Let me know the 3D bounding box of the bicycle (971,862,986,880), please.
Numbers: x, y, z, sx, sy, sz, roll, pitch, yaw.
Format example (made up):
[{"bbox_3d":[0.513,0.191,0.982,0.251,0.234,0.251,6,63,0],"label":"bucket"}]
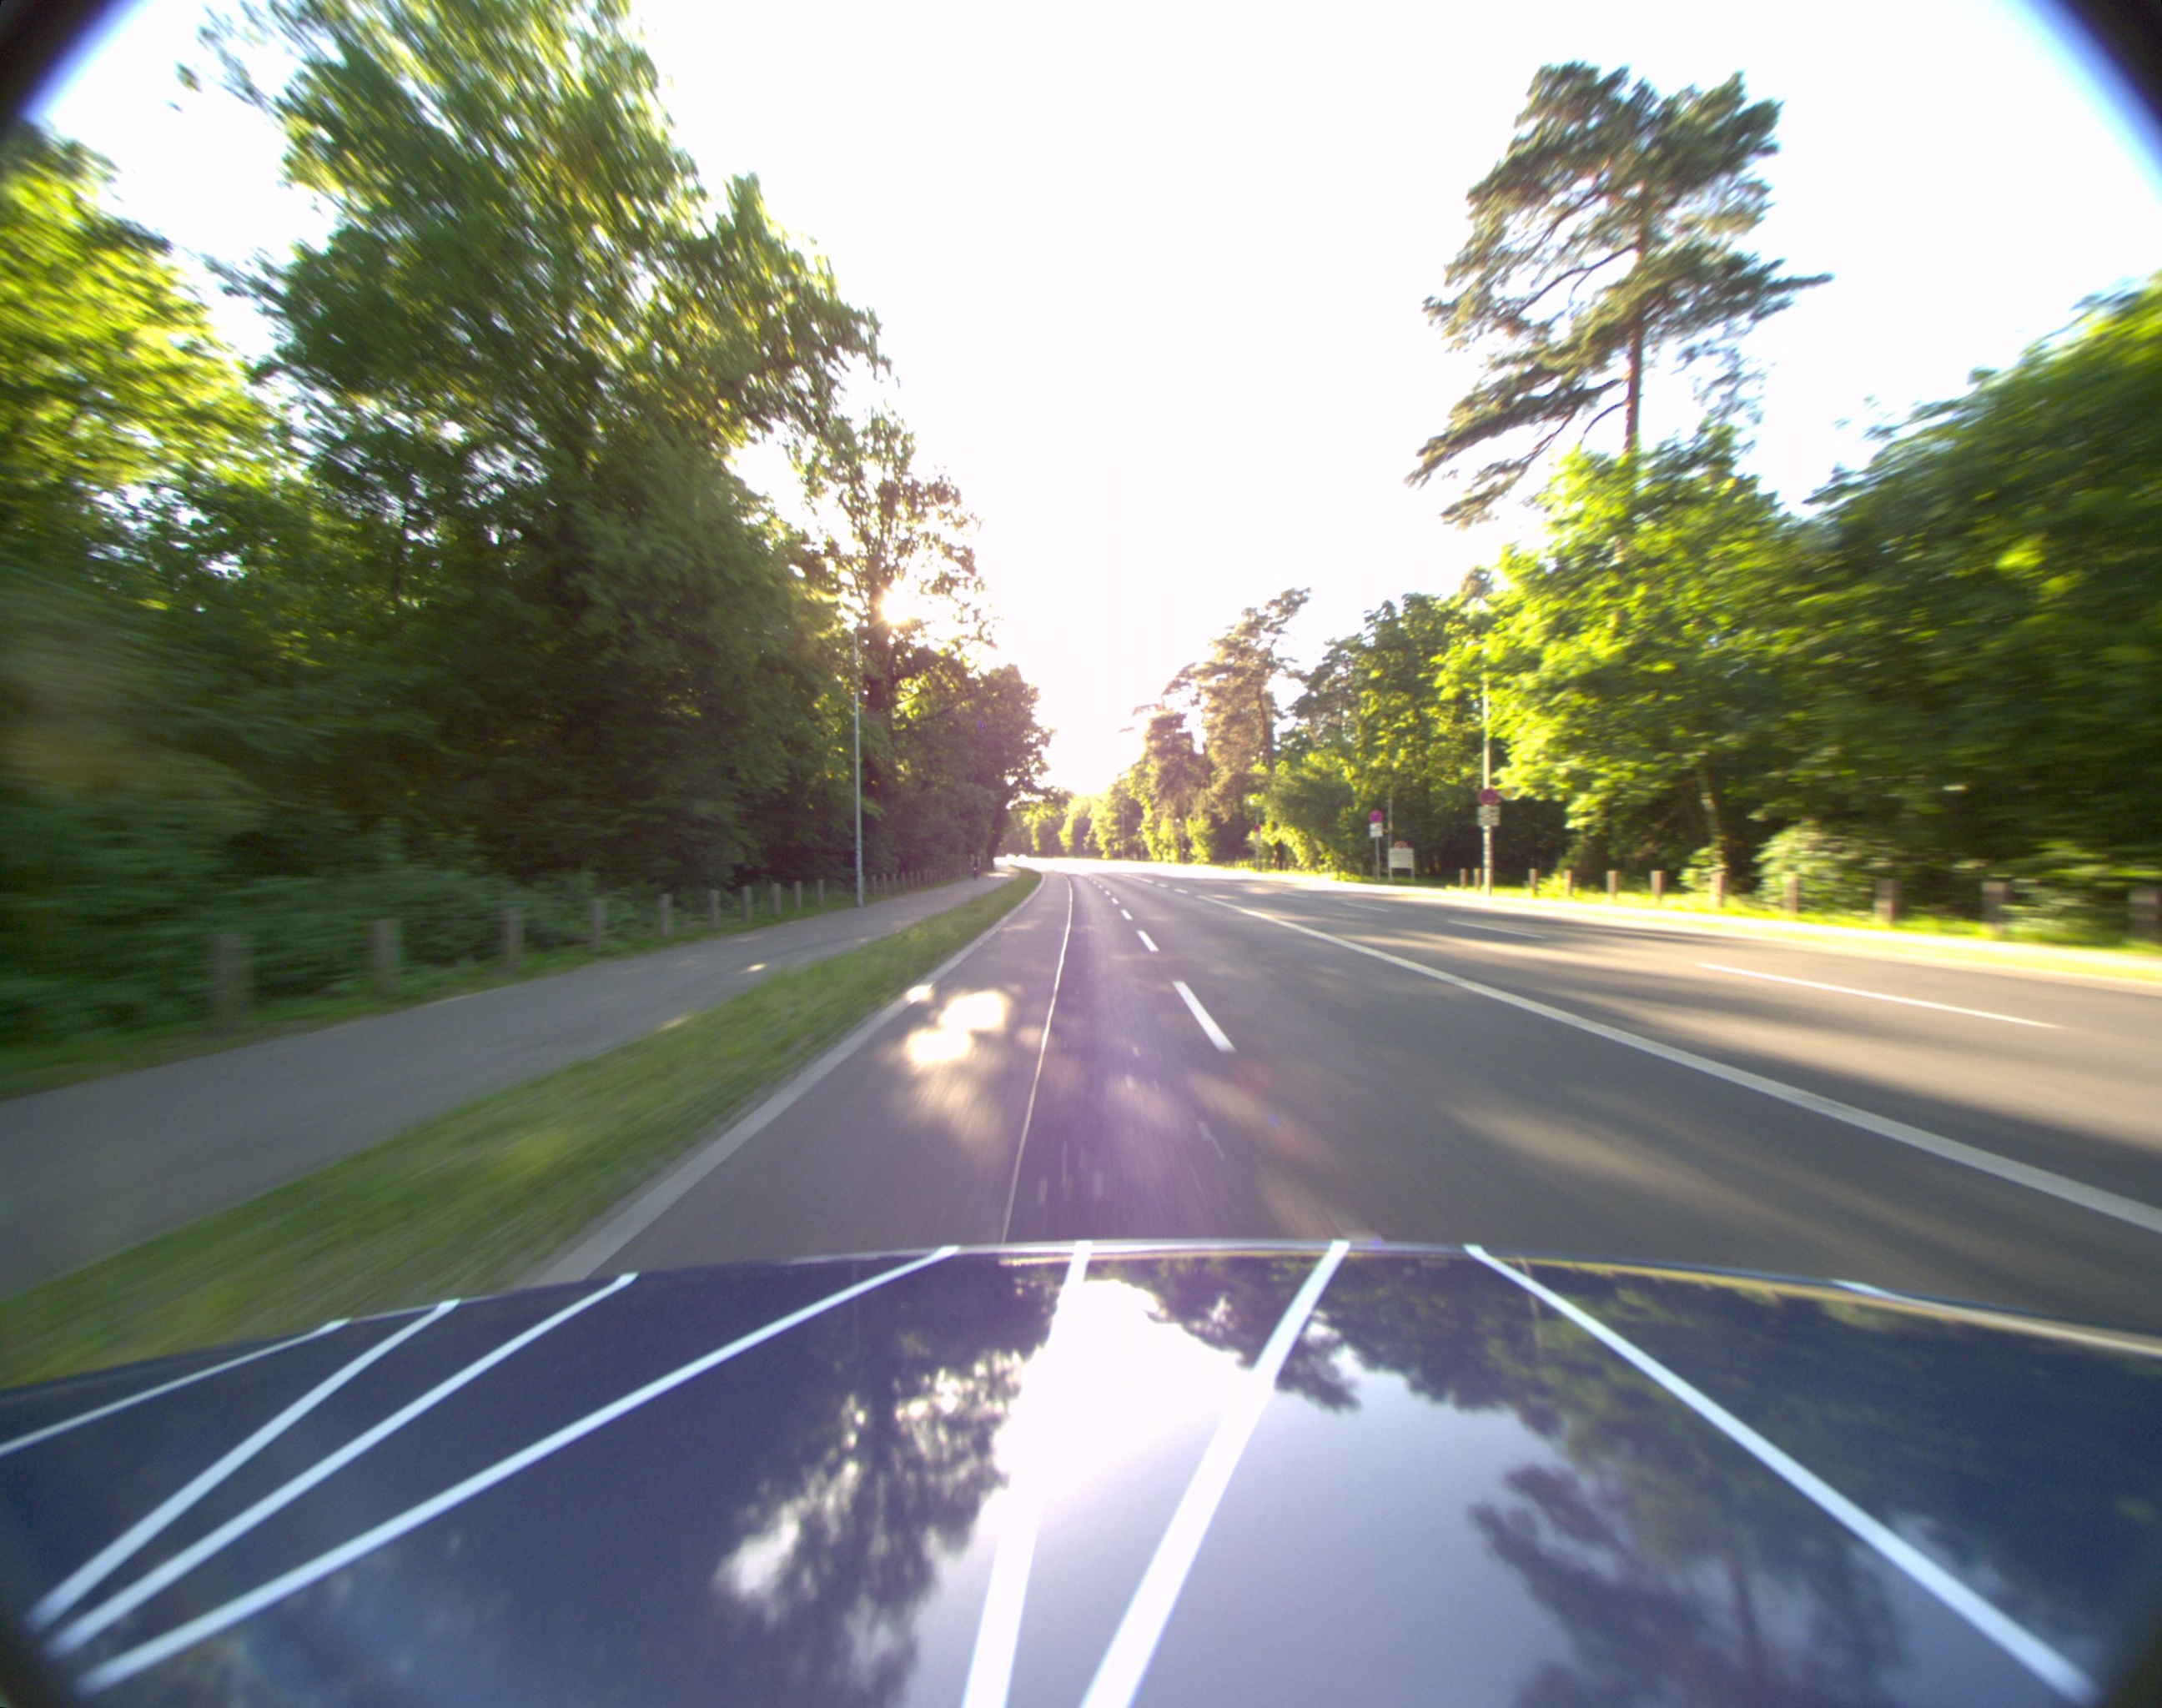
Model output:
[{"bbox_3d":[-6.643,1.089,49.236,0.608,1.051,2.874,-1,0,0],"label":"bicycle"}]

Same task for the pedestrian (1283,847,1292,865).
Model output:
[{"bbox_3d":[15.381,0.120,56.581,0.472,1.307,0.512,-1,1,0],"label":"pedestrian"}]

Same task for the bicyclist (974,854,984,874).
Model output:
[{"bbox_3d":[-6.625,0.657,49.377,0.514,1.260,0.497,-1,1,0],"label":"bicyclist"}]
